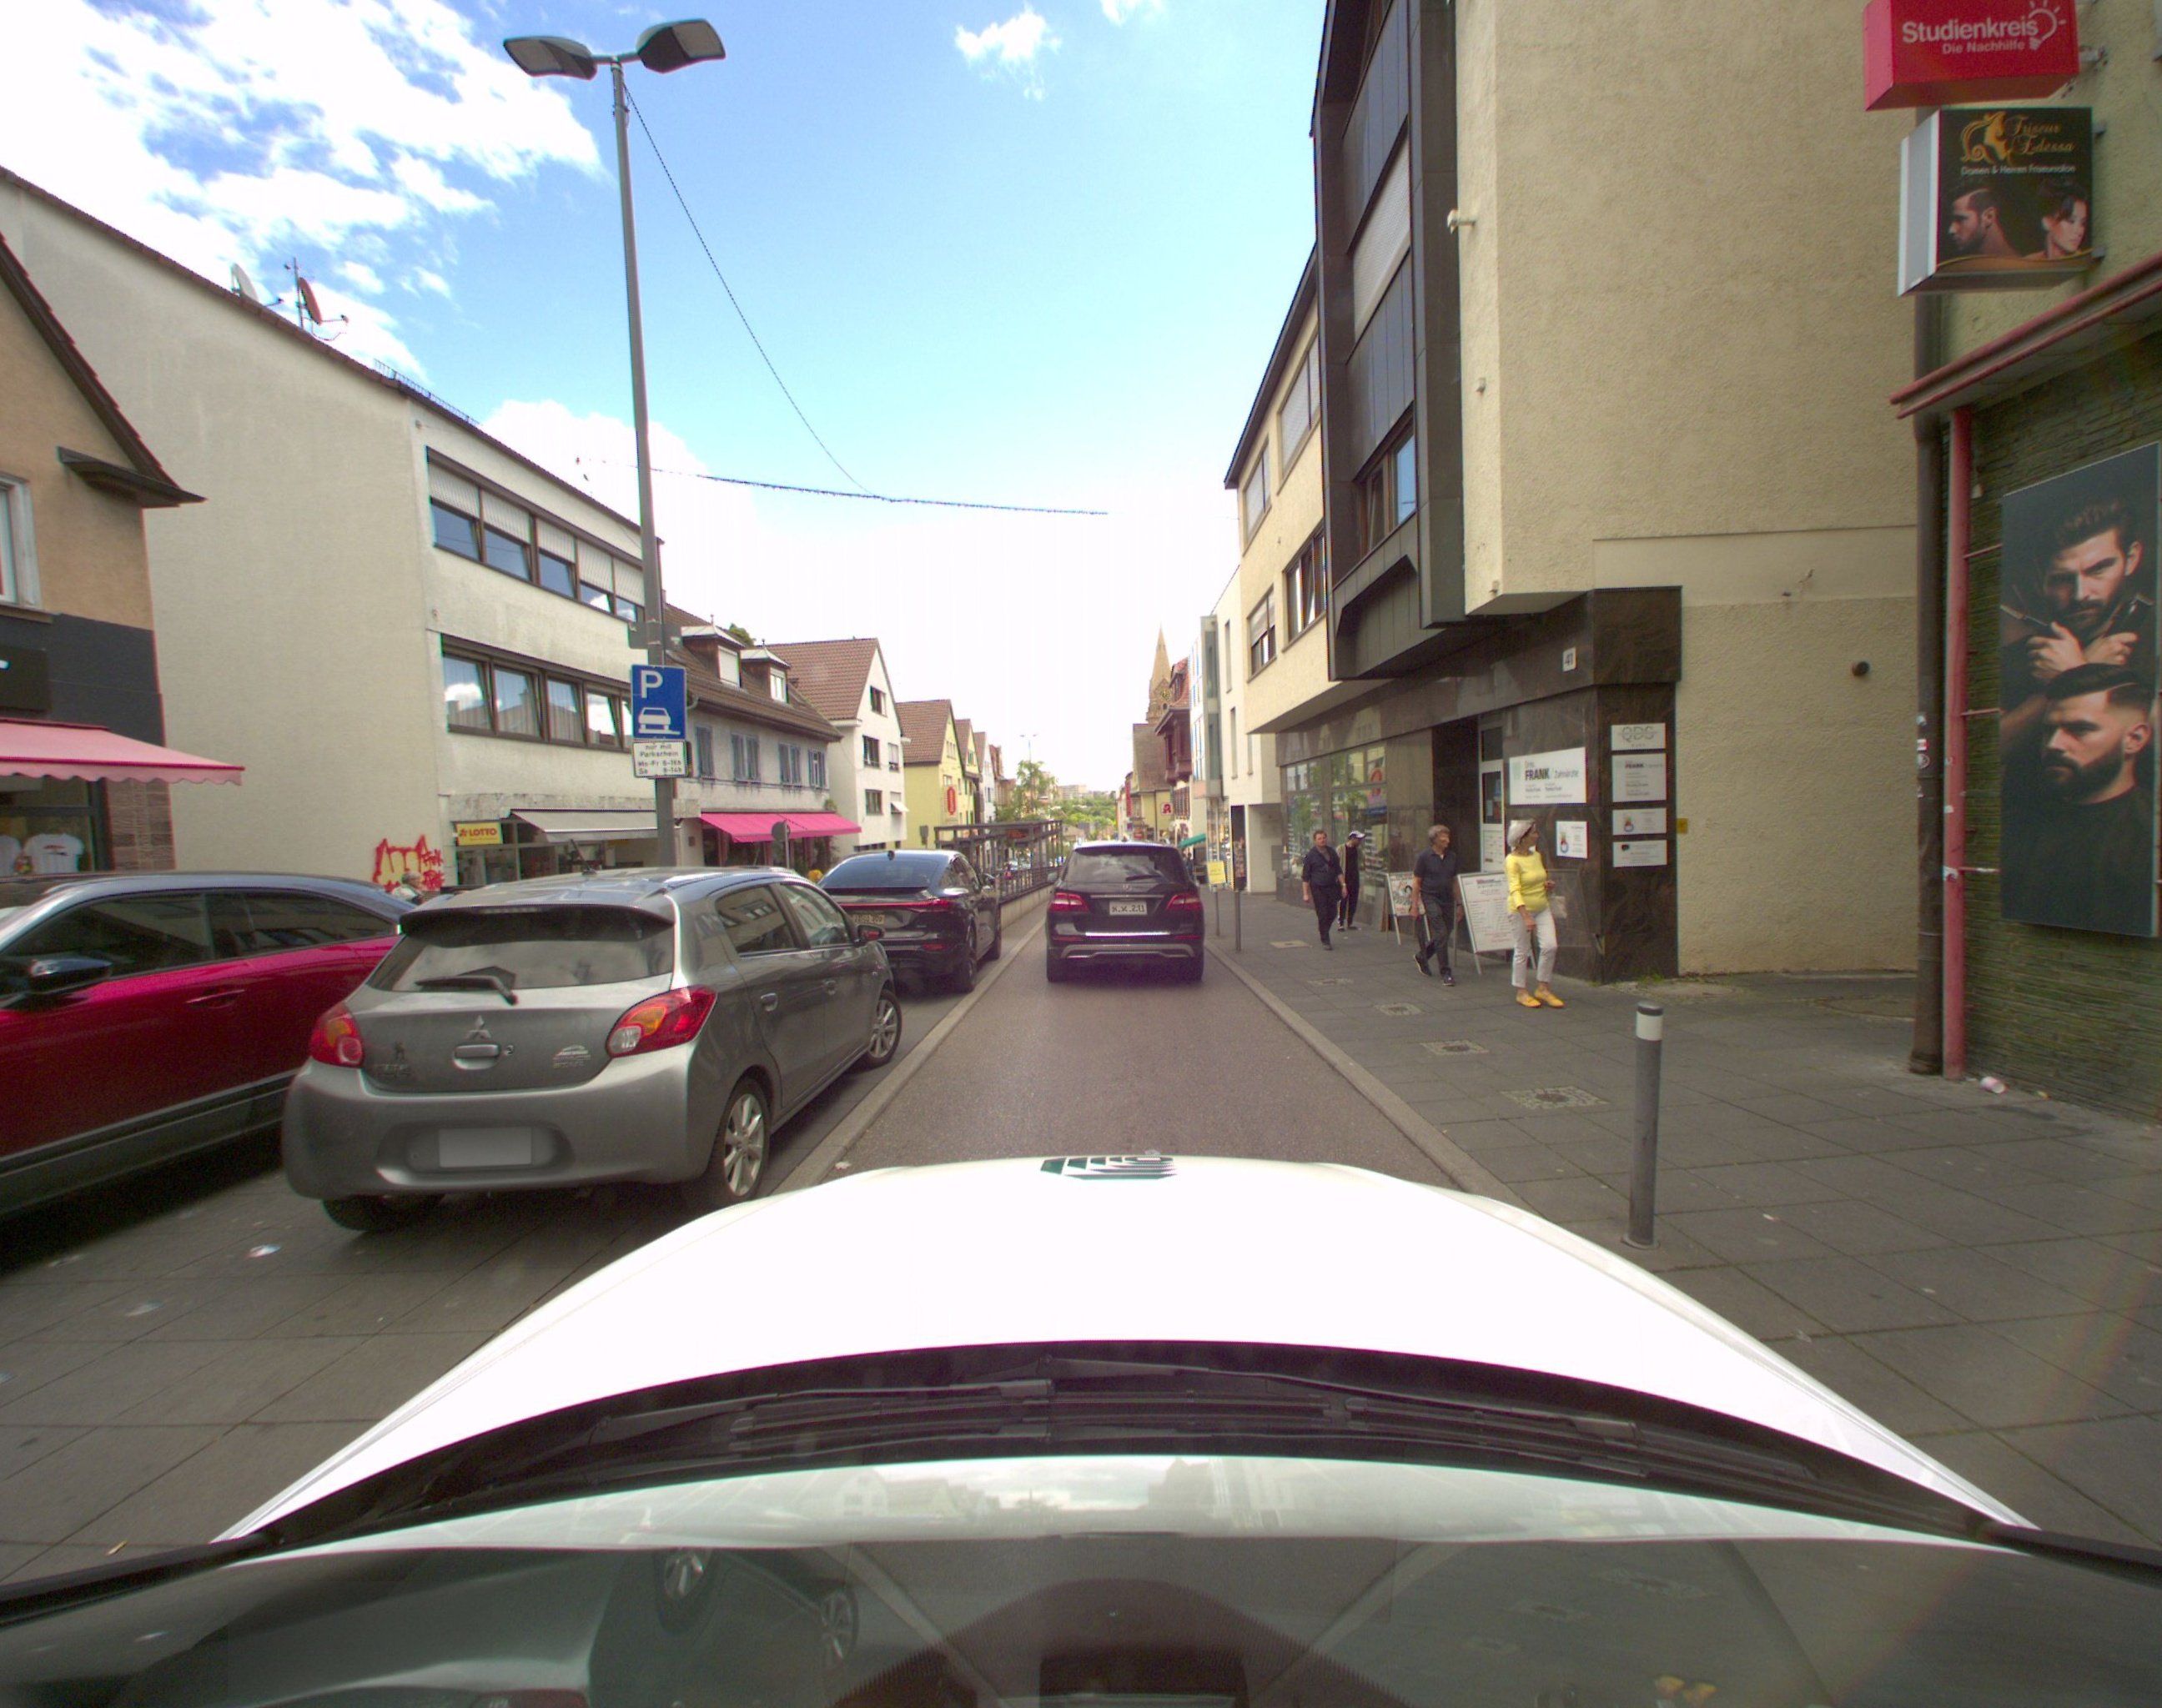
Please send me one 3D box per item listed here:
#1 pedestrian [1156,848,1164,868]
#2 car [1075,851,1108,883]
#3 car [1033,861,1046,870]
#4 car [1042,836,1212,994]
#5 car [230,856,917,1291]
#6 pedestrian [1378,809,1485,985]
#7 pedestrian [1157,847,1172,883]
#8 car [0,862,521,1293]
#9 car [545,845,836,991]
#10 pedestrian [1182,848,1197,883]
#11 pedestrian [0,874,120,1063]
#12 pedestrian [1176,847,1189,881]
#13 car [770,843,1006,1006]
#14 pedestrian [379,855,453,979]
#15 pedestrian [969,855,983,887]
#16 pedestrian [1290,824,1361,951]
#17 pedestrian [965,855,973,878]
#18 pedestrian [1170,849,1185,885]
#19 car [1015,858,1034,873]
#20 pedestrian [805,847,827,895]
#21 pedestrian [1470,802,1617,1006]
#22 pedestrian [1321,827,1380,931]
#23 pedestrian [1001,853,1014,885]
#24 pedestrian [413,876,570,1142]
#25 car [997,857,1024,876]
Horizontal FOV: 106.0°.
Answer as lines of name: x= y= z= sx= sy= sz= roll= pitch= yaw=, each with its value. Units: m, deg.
pedestrian: x=6.694 y=0.332 z=69.150 sx=0.604 sy=1.688 sz=0.724 roll=-3 pitch=0 yaw=1
car: x=0.611 y=0.697 z=45.518 sx=1.764 sy=1.713 sz=4.001 roll=0 pitch=0 yaw=1
car: x=-5.360 y=1.495 z=106.367 sx=1.383 sy=1.070 sz=3.114 roll=-3 pitch=0 yaw=2
car: x=0.508 y=0.687 z=11.086 sx=1.894 sy=1.747 sz=3.999 roll=0 pitch=0 yaw=0
car: x=-2.174 y=0.785 z=4.727 sx=1.614 sy=1.532 sz=3.671 roll=0 pitch=0 yaw=1
pedestrian: x=3.727 y=0.442 z=8.729 sx=0.708 sy=1.753 sz=0.785 roll=-4 pitch=0 yaw=1
pedestrian: x=4.022 y=0.511 z=39.041 sx=0.620 sy=1.689 sz=0.565 roll=0 pitch=-1 yaw=-5
car: x=-4.801 y=0.859 z=3.554 sx=1.733 sy=1.543 sz=4.193 roll=-3 pitch=0 yaw=0
car: x=-4.575 y=0.662 z=10.255 sx=1.733 sy=1.475 sz=3.884 roll=0 pitch=0 yaw=1
pedestrian: x=5.449 y=0.573 z=41.004 sx=0.572 sy=1.689 sz=0.565 roll=-3 pitch=0 yaw=-5
pedestrian: x=-10.041 y=1.053 z=7.814 sx=0.636 sy=1.689 sz=0.828 roll=-1 pitch=0 yaw=3
pedestrian: x=5.231 y=0.510 z=41.869 sx=0.572 sy=1.689 sz=0.565 roll=0 pitch=-1 yaw=-5
car: x=-2.160 y=0.718 z=10.415 sx=1.950 sy=1.639 sz=4.314 roll=0 pitch=0 yaw=0
pedestrian: x=-9.525 y=0.876 z=11.666 sx=0.638 sy=1.689 sz=0.670 roll=-2 pitch=1 yaw=41
pedestrian: x=-5.631 y=0.906 z=43.566 sx=0.613 sy=1.689 sz=0.560 roll=-2 pitch=0 yaw=-15
pedestrian: x=3.560 y=0.476 z=11.926 sx=0.708 sy=1.753 sz=0.787 roll=-4 pitch=0 yaw=1
pedestrian: x=-8.262 y=0.919 z=60.008 sx=0.511 sy=1.689 sz=0.541 roll=0 pitch=-1 yaw=1
pedestrian: x=4.685 y=0.645 z=39.608 sx=0.541 sy=1.726 sz=0.527 roll=-2 pitch=0 yaw=-5
car: x=-5.793 y=1.155 z=83.807 sx=1.654 sy=1.490 sz=3.749 roll=0 pitch=0 yaw=2
pedestrian: x=-9.294 y=0.594 z=28.620 sx=0.576 sy=1.689 sz=0.577 roll=0 pitch=-1 yaw=1
pedestrian: x=3.984 y=0.410 z=7.086 sx=0.708 sy=1.631 sz=0.835 roll=-4 pitch=0 yaw=1
pedestrian: x=4.618 y=0.424 z=13.985 sx=0.662 sy=1.689 sz=0.542 roll=-5 pitch=0 yaw=-5
pedestrian: x=-3.911 y=0.798 z=43.452 sx=0.623 sy=1.689 sz=0.679 roll=0 pitch=0 yaw=1
pedestrian: x=-3.432 y=0.867 z=4.771 sx=0.465 sy=1.431 sz=0.492 roll=-4 pitch=0 yaw=1
car: x=-5.753 y=1.029 z=66.661 sx=1.683 sy=1.490 sz=3.980 roll=0 pitch=0 yaw=2
